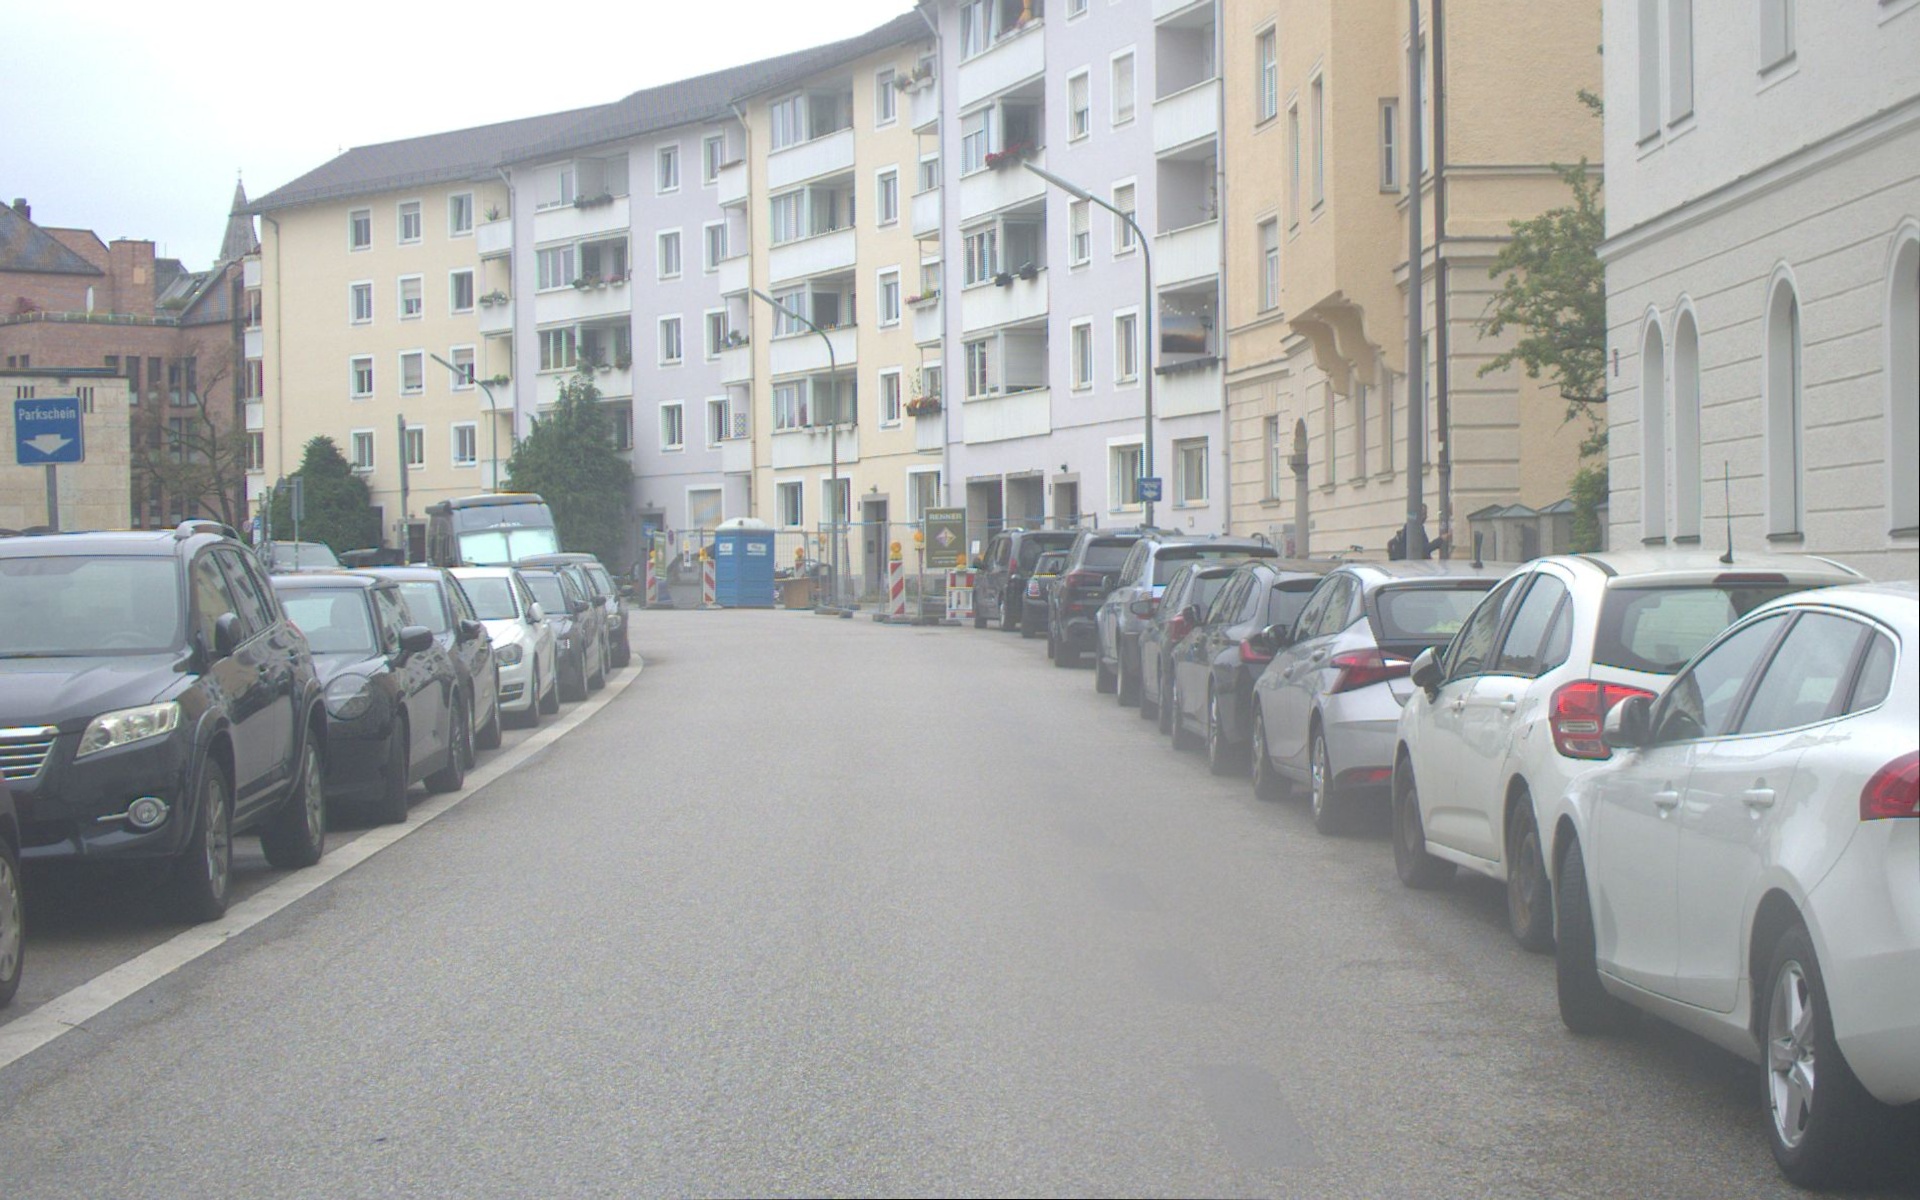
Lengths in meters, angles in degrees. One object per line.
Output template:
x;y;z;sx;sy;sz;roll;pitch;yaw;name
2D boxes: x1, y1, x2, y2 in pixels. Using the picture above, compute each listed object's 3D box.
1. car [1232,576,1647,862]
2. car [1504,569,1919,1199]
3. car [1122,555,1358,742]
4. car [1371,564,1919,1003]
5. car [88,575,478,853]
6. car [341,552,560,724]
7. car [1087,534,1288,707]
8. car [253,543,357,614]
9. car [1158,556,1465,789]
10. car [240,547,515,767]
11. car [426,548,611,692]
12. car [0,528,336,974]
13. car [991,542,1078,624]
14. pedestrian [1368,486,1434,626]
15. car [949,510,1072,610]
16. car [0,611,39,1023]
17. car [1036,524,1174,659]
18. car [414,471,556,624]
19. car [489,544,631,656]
2.598;0.591;19.475;1.692;1.427;3.945;1;1;-1;car
2.714;0.686;9.260;1.692;1.486;4.283;-1;1;-1;car
2.330;0.364;29.397;1.590;1.427;3.826;1;1;-1;car
2.730;0.634;14.106;1.599;1.486;3.799;0;2;0;car
-3.980;0.611;20.760;1.623;1.407;3.799;-2;1;-1;car
-4.628;0.300;31.645;1.623;1.414;3.982;-2;1;-4;car
2.217;0.151;34.440;1.590;1.577;4.299;1;1;-2;car
-16.063;-0.532;84.189;1.599;1.643;3.141;1;1;-28;car
2.389;0.437;24.307;1.590;1.427;4.421;1;1;-1;car
-4.377;0.372;26.332;1.623;1.503;3.982;-2;1;-4;car
-4.721;0.171;37.174;1.623;1.414;3.982;-2;1;-3;car
-3.995;0.565;15.323;1.701;1.685;4.028;-2;1;-1;car
1.190;-0.297;55.988;1.272;1.294;2.798;0;1;-2;car
5.419;-0.537;42.300;0.667;1.687;0.690;2;0;0;pedestrian
0.871;-0.731;60.926;1.601;1.709;3.090;1;1;-10;car
-4.044;0.805;10.202;1.652;1.368;3.653;-2;1;-1;car
1.827;-0.144;44.235;1.474;1.635;4.001;1;1;-2;car
-8.588;-0.974;61.880;1.770;2.645;4.001;1;1;-19;car
-5.379;-0.032;46.599;1.623;1.414;3.648;-2;1;-3;car
